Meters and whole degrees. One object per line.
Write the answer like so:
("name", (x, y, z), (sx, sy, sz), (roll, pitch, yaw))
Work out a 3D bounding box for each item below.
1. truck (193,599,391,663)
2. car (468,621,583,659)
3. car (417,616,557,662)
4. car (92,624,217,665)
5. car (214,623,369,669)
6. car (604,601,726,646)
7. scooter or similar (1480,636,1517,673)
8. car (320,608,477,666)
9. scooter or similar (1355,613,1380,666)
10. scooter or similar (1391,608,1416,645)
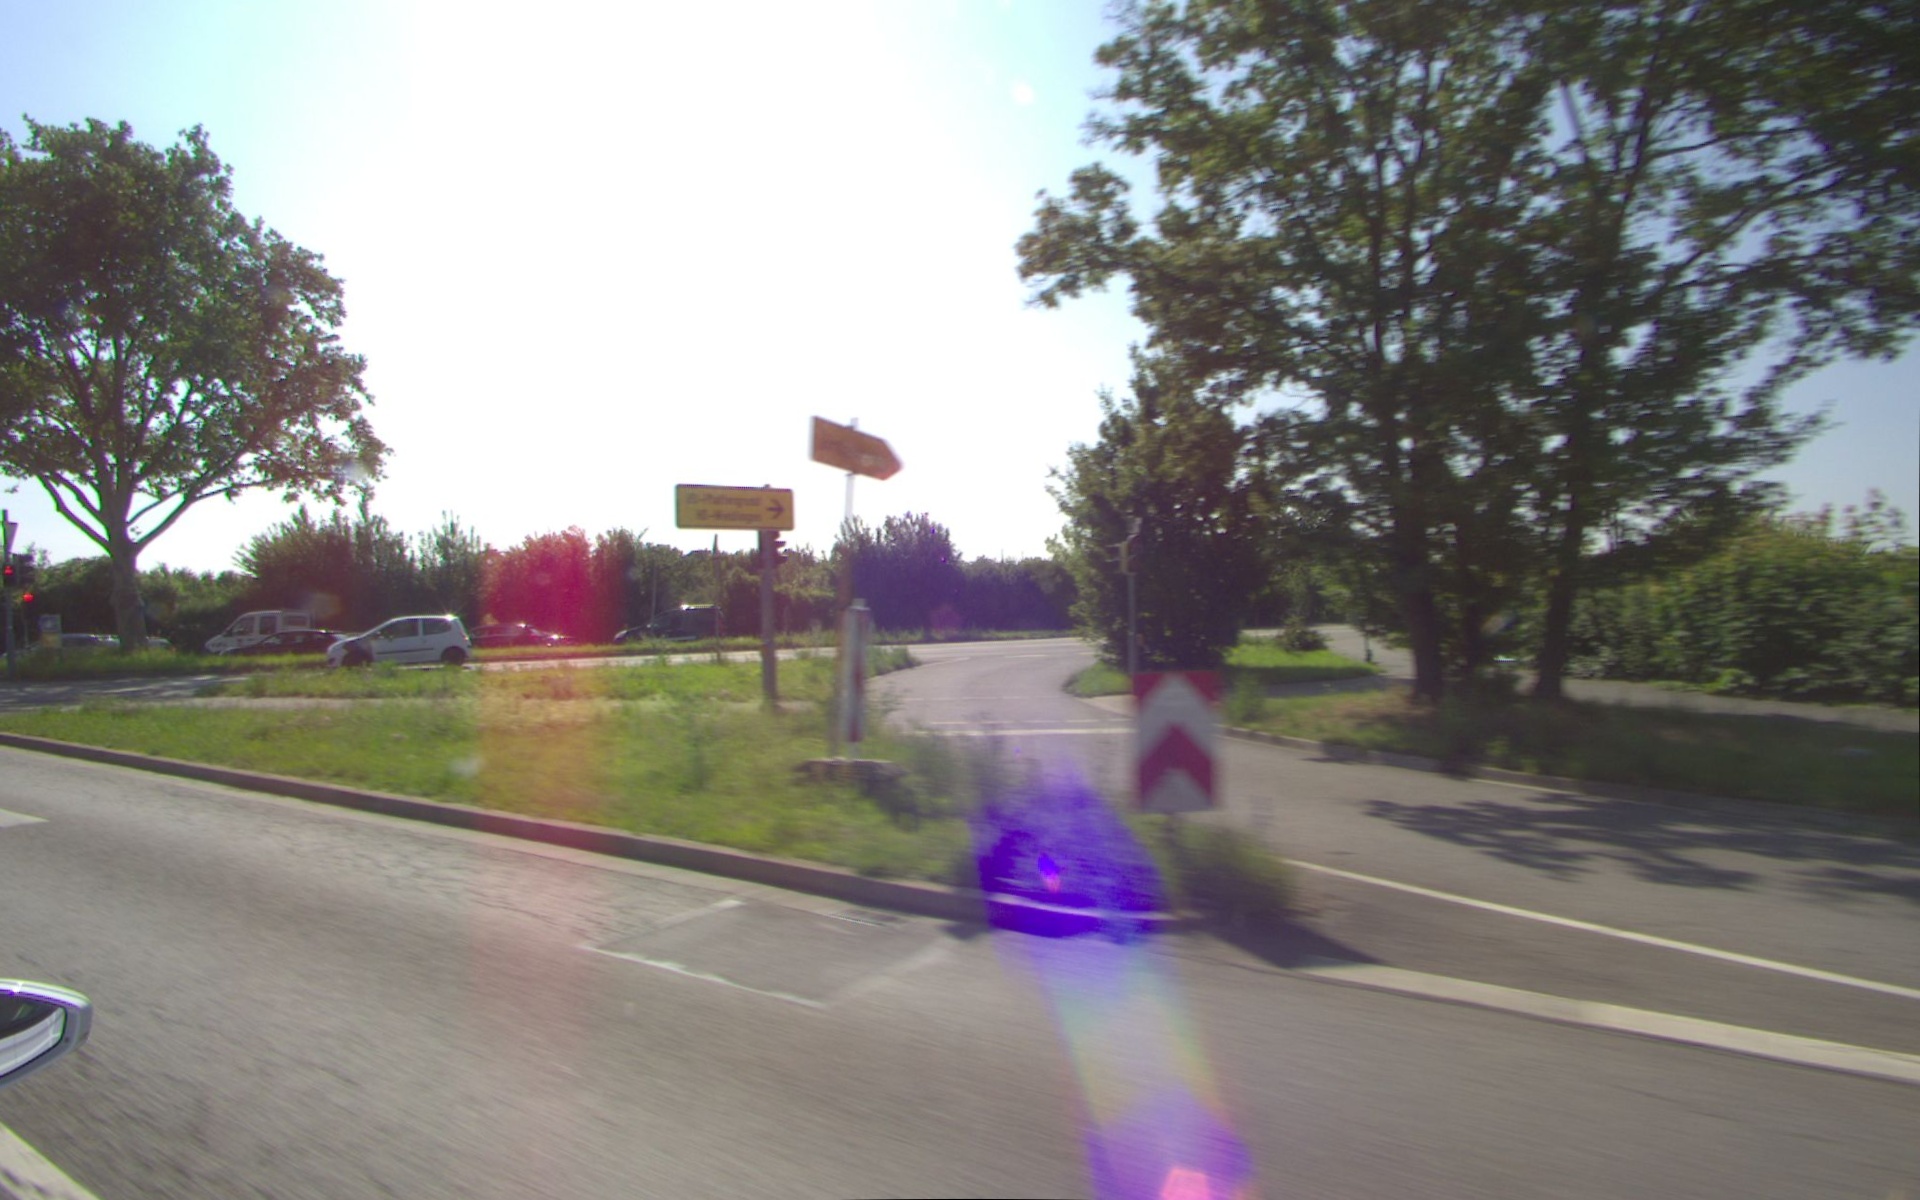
("truck", (-26.694, 1.270, 40.194), (6.349, 2.416, 2.347), (-1, -3, 0))
("car", (-17.809, 1.659, 41.166), (3.923, 1.437, 1.891), (-1, -2, -6))
("car", (-17.794, 1.487, 37.827), (4.383, 1.655, 1.888), (0, -2, -6))
("car", (-32.262, 1.790, 40.160), (3.750, 1.567, 1.622), (-1, -2, 2))
("car", (-24.852, 1.695, 37.336), (4.382, 1.548, 2.000), (-1, 0, -1))
("car", (-11.241, 0.910, 38.496), (4.387, 1.655, 1.886), (0, -2, -14))
("scooter or similar", (11.623, 1.168, 21.628), (0.427, 0.736, 1.120), (-1, 1, 13))
("car", (-15.676, 0.992, 28.033), (3.703, 1.488, 1.775), (0, -1, -32))
("scooter or similar", (10.037, 0.961, 24.688), (0.427, 1.252, 0.968), (-1, 1, 13))
("scooter or similar", (13.974, 0.835, 31.588), (0.491, 1.132, 1.383), (-1, -1, 14))
